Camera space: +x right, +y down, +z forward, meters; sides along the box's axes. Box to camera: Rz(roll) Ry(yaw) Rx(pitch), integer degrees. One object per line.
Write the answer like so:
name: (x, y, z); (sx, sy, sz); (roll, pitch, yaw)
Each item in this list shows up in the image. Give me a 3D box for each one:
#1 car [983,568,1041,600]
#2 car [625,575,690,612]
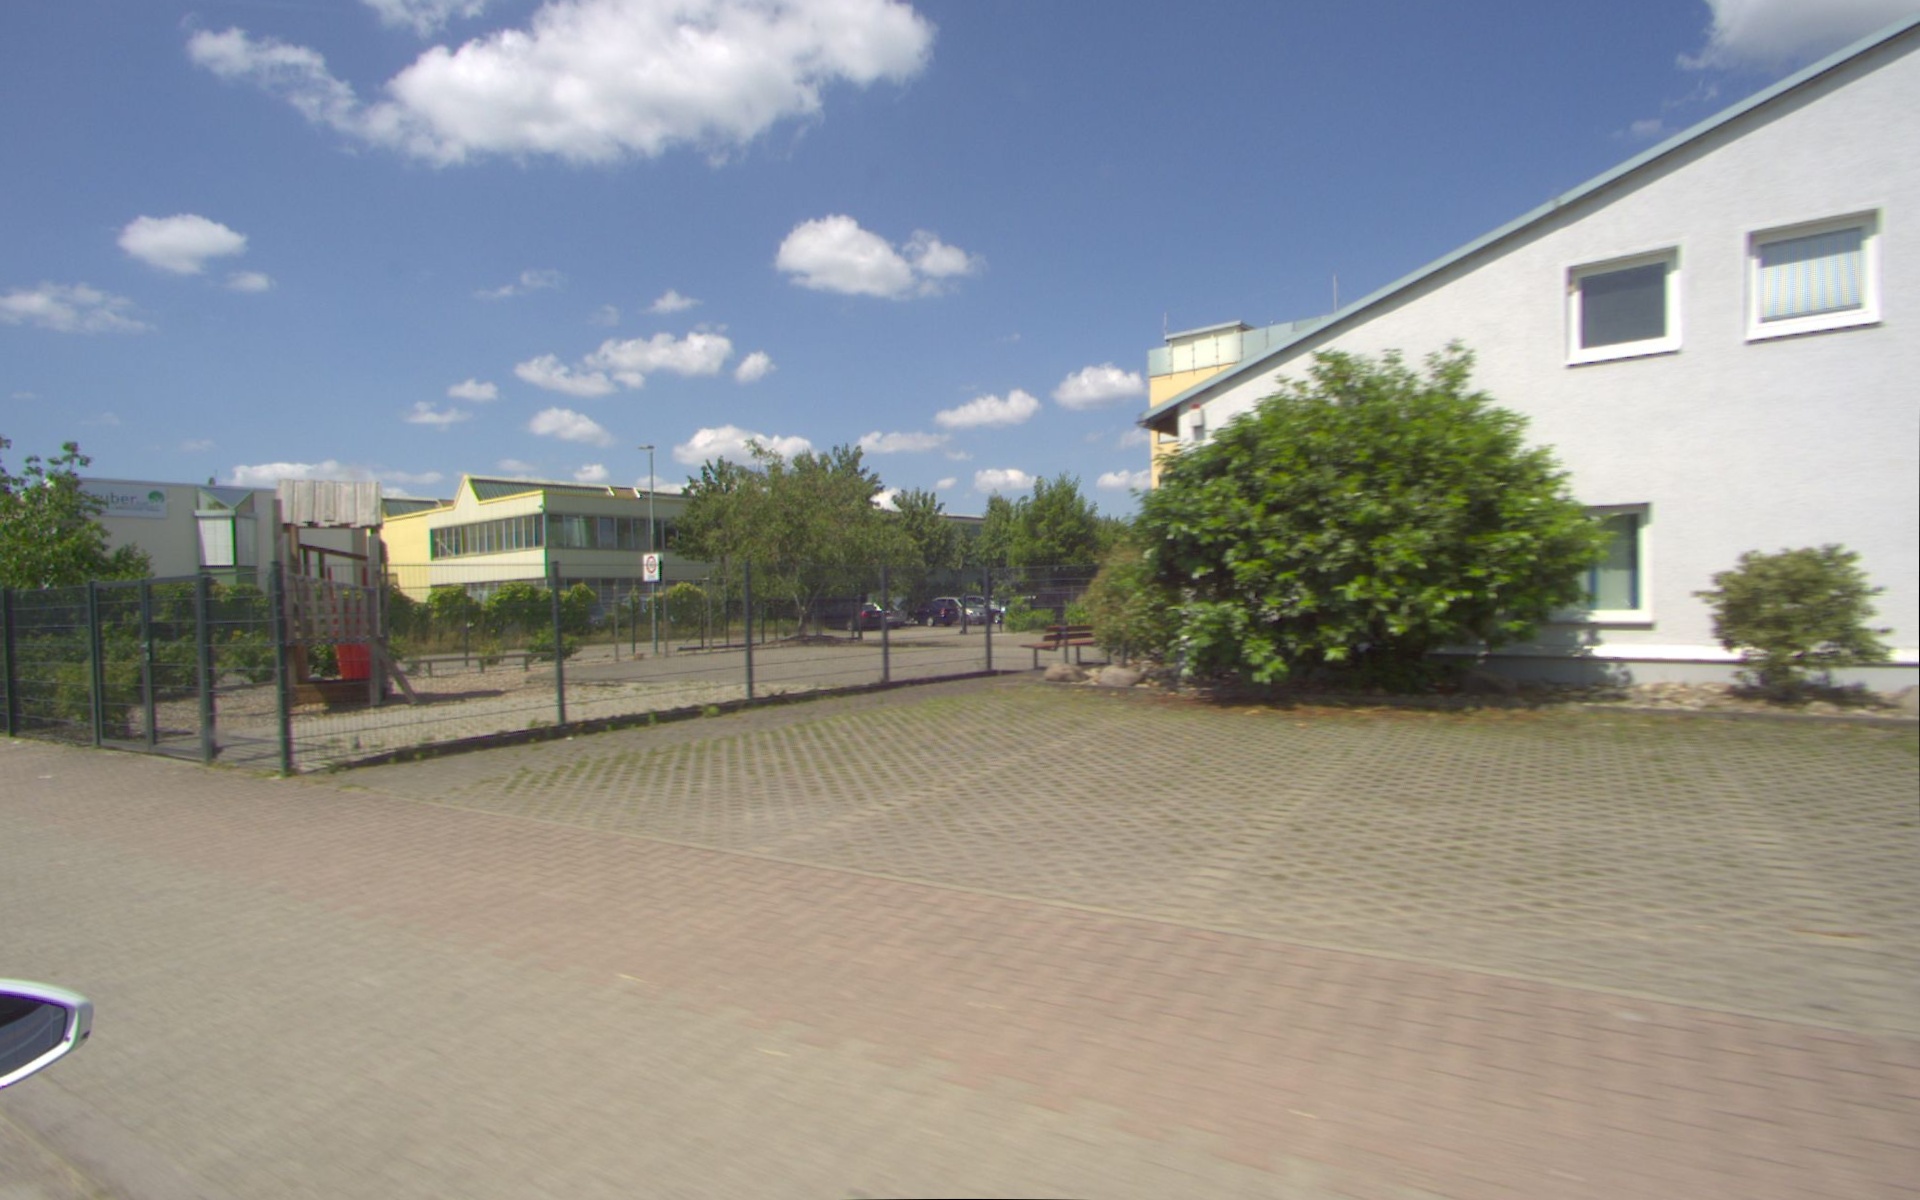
car: (3.744, -1.155, 72.837); (1.977, 2.040, 3.969); (-3, -1, -39)
car: (-18.808, -0.381, 62.198); (3.956, 2.040, 1.983); (-4, -1, 41)
